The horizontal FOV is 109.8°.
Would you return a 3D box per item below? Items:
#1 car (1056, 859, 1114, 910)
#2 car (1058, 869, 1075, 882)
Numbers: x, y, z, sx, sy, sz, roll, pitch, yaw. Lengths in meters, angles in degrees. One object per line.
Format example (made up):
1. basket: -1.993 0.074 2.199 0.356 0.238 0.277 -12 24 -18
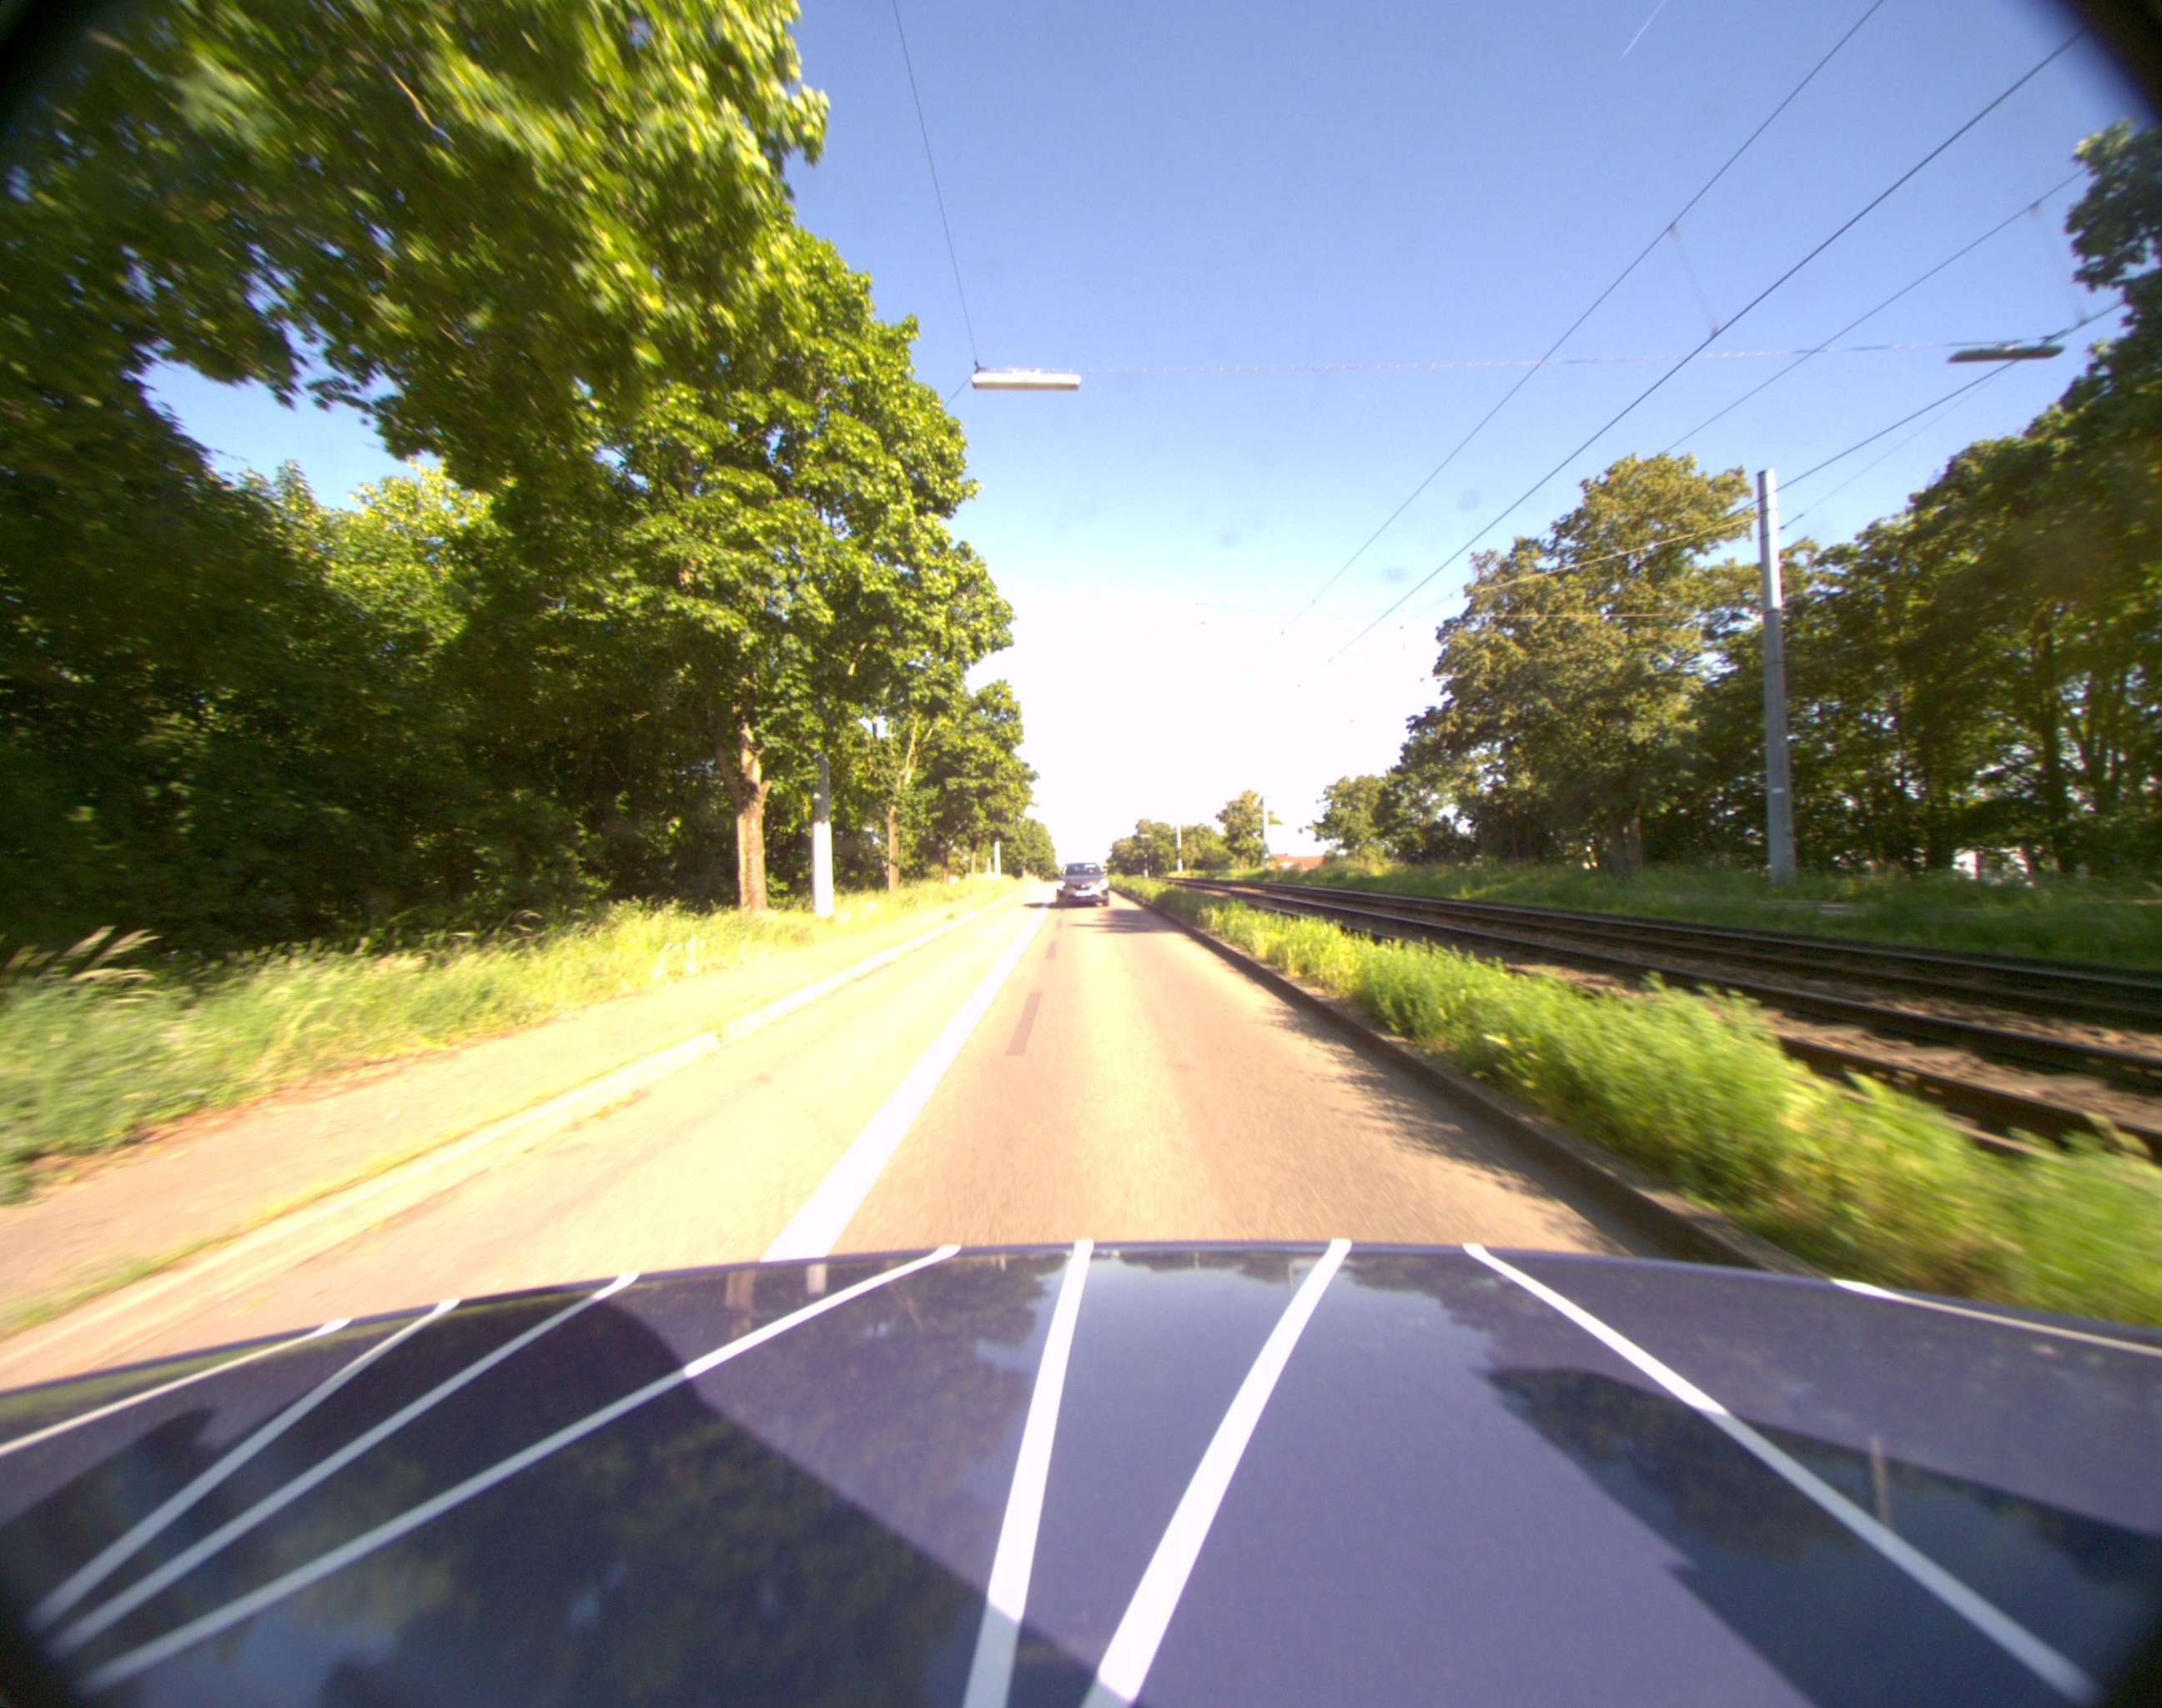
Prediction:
1. car: 0.075 1.015 27.208 1.822 1.589 4.412 -3 0 -1
2. car: -1.876 2.754 98.082 1.999 1.577 3.998 -3 0 -4
